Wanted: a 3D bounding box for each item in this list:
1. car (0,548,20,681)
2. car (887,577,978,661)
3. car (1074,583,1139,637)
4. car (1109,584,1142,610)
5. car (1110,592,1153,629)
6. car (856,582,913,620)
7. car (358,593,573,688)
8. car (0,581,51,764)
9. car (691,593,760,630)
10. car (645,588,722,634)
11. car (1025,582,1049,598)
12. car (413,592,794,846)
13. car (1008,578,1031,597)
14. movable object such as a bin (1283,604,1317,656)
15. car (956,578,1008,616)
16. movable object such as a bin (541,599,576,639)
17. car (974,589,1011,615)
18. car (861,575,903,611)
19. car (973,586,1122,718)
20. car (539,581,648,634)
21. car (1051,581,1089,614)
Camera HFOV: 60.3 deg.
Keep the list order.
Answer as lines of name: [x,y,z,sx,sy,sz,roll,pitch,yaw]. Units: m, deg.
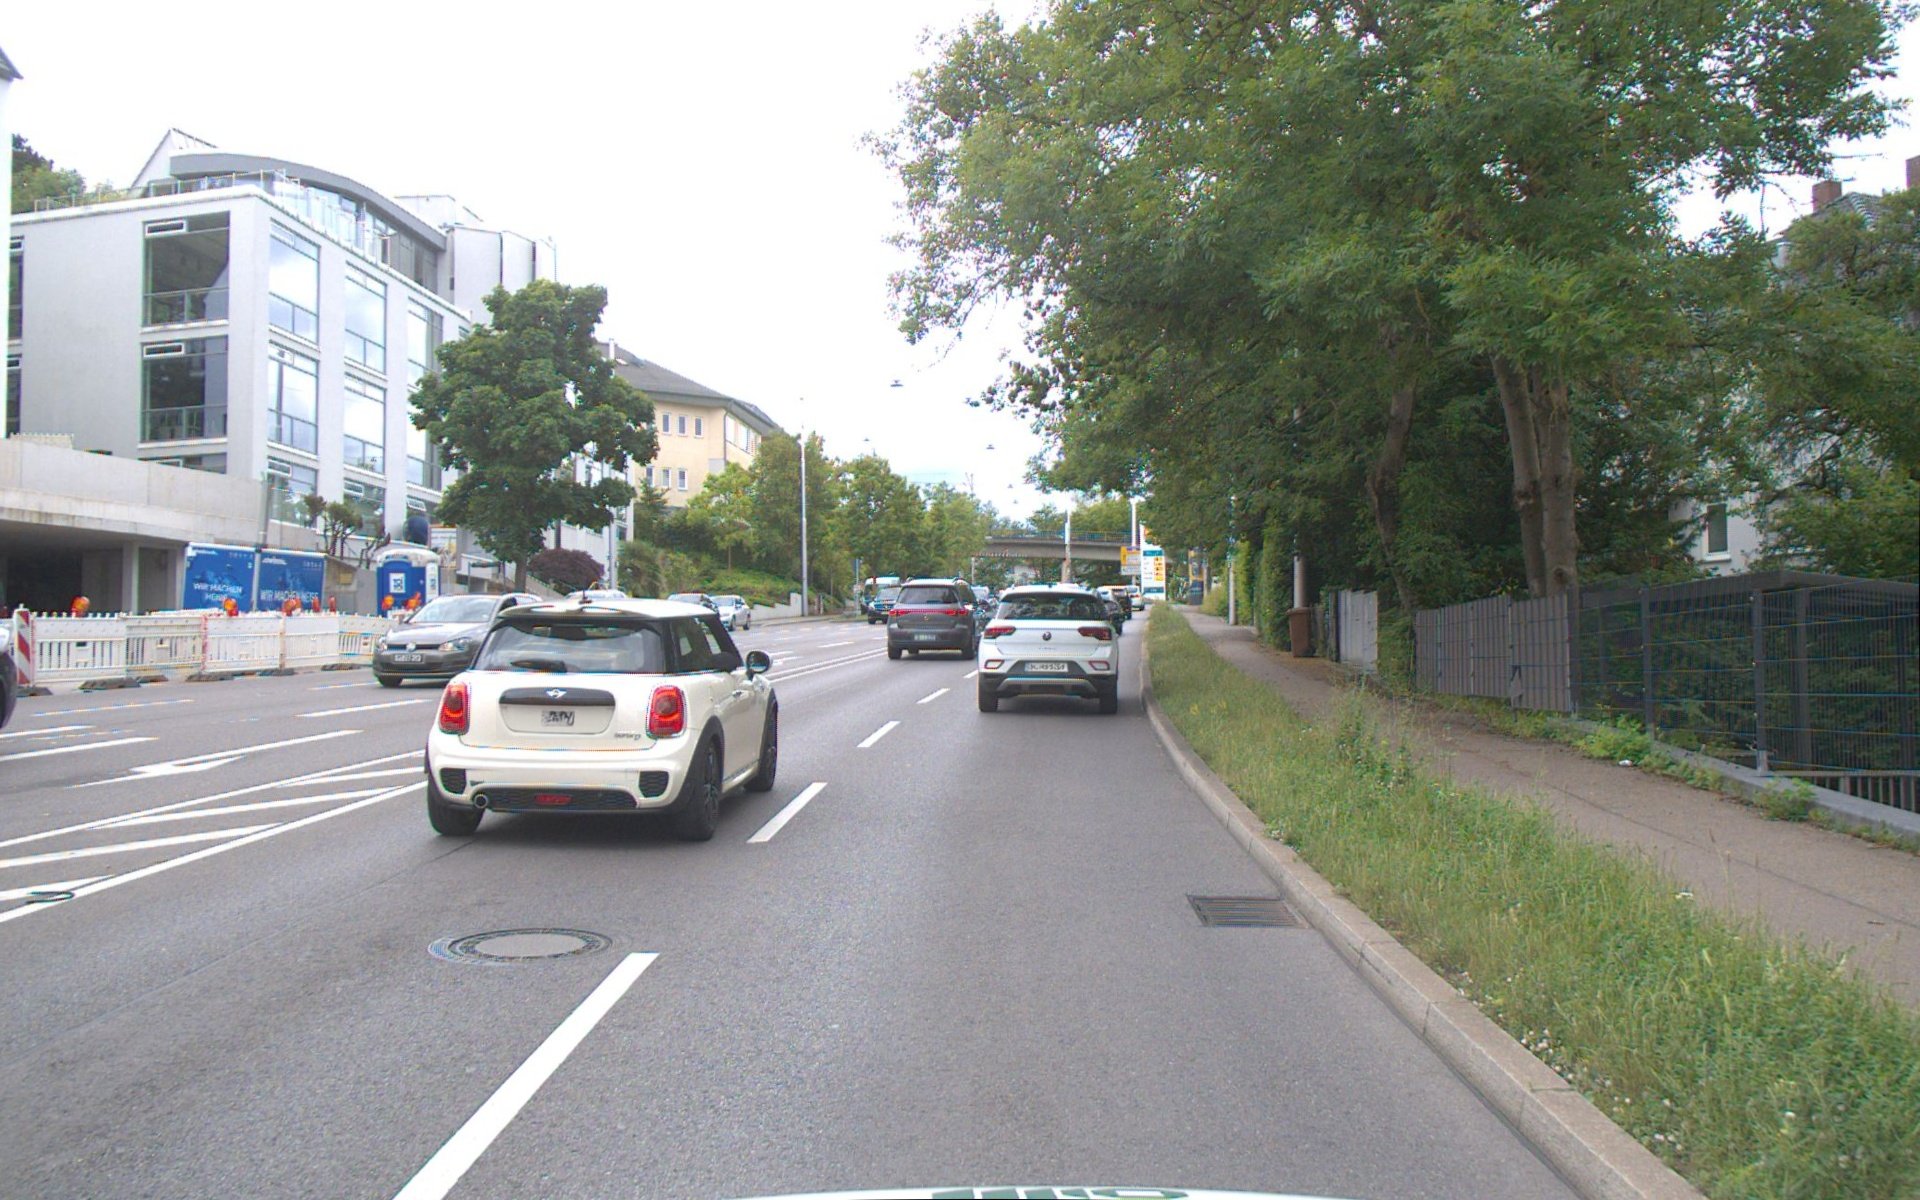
car: [-15.765,0.234,22.880,1.940,2.001,5.223,0,0,10]
car: [-0.652,0.375,35.939,1.777,1.681,4.633,-1,0,-3]
car: [4.591,0.318,52.343,1.834,1.527,4.556,3,0,3]
car: [10.021,-0.191,100.446,1.819,1.526,4.058,-1,0,4]
car: [7.856,0.499,75.893,1.833,1.527,4.558,3,0,6]
car: [-3.312,0.038,73.419,1.733,1.662,4.146,0,0,9]
car: [-7.965,0.600,27.072,1.804,1.417,4.287,0,0,7]
car: [-9.003,0.602,12.231,1.659,1.522,4.489,1,0,7]
car: [-9.526,0.452,67.401,1.733,1.431,4.146,0,0,7]
car: [-10.250,0.371,61.547,1.733,1.662,3.919,0,0,8]
car: [7.223,-0.939,155.875,1.821,1.526,4.053,-1,0,-3]
car: [-2.202,0.671,11.148,1.594,1.417,3.568,-1,0,3]
car: [5.022,-1.082,139.709,1.856,1.569,4.695,0,0,3]
movable object such as a bin: [6.500,0.571,31.652,0.543,0.964,0.568,1,0,3]
car: [1.018,-0.140,74.620,1.733,1.624,5.188,0,0,8]
movable object such as a bin: [-10.249,0.475,42.225,0.631,1.007,0.660,1,0,15]
car: [1.817,0.107,91.523,1.704,1.376,4.849,0,0,6]
car: [-5.151,-0.445,110.157,2.025,2.346,5.469,0,0,5]
car: [1.157,0.609,21.673,1.773,1.566,3.691,-1,0,3]
car: [-11.015,0.211,49.953,1.733,1.525,4.308,0,0,9]
car: [5.984,-0.147,89.450,1.818,1.681,4.639,-1,0,6]
